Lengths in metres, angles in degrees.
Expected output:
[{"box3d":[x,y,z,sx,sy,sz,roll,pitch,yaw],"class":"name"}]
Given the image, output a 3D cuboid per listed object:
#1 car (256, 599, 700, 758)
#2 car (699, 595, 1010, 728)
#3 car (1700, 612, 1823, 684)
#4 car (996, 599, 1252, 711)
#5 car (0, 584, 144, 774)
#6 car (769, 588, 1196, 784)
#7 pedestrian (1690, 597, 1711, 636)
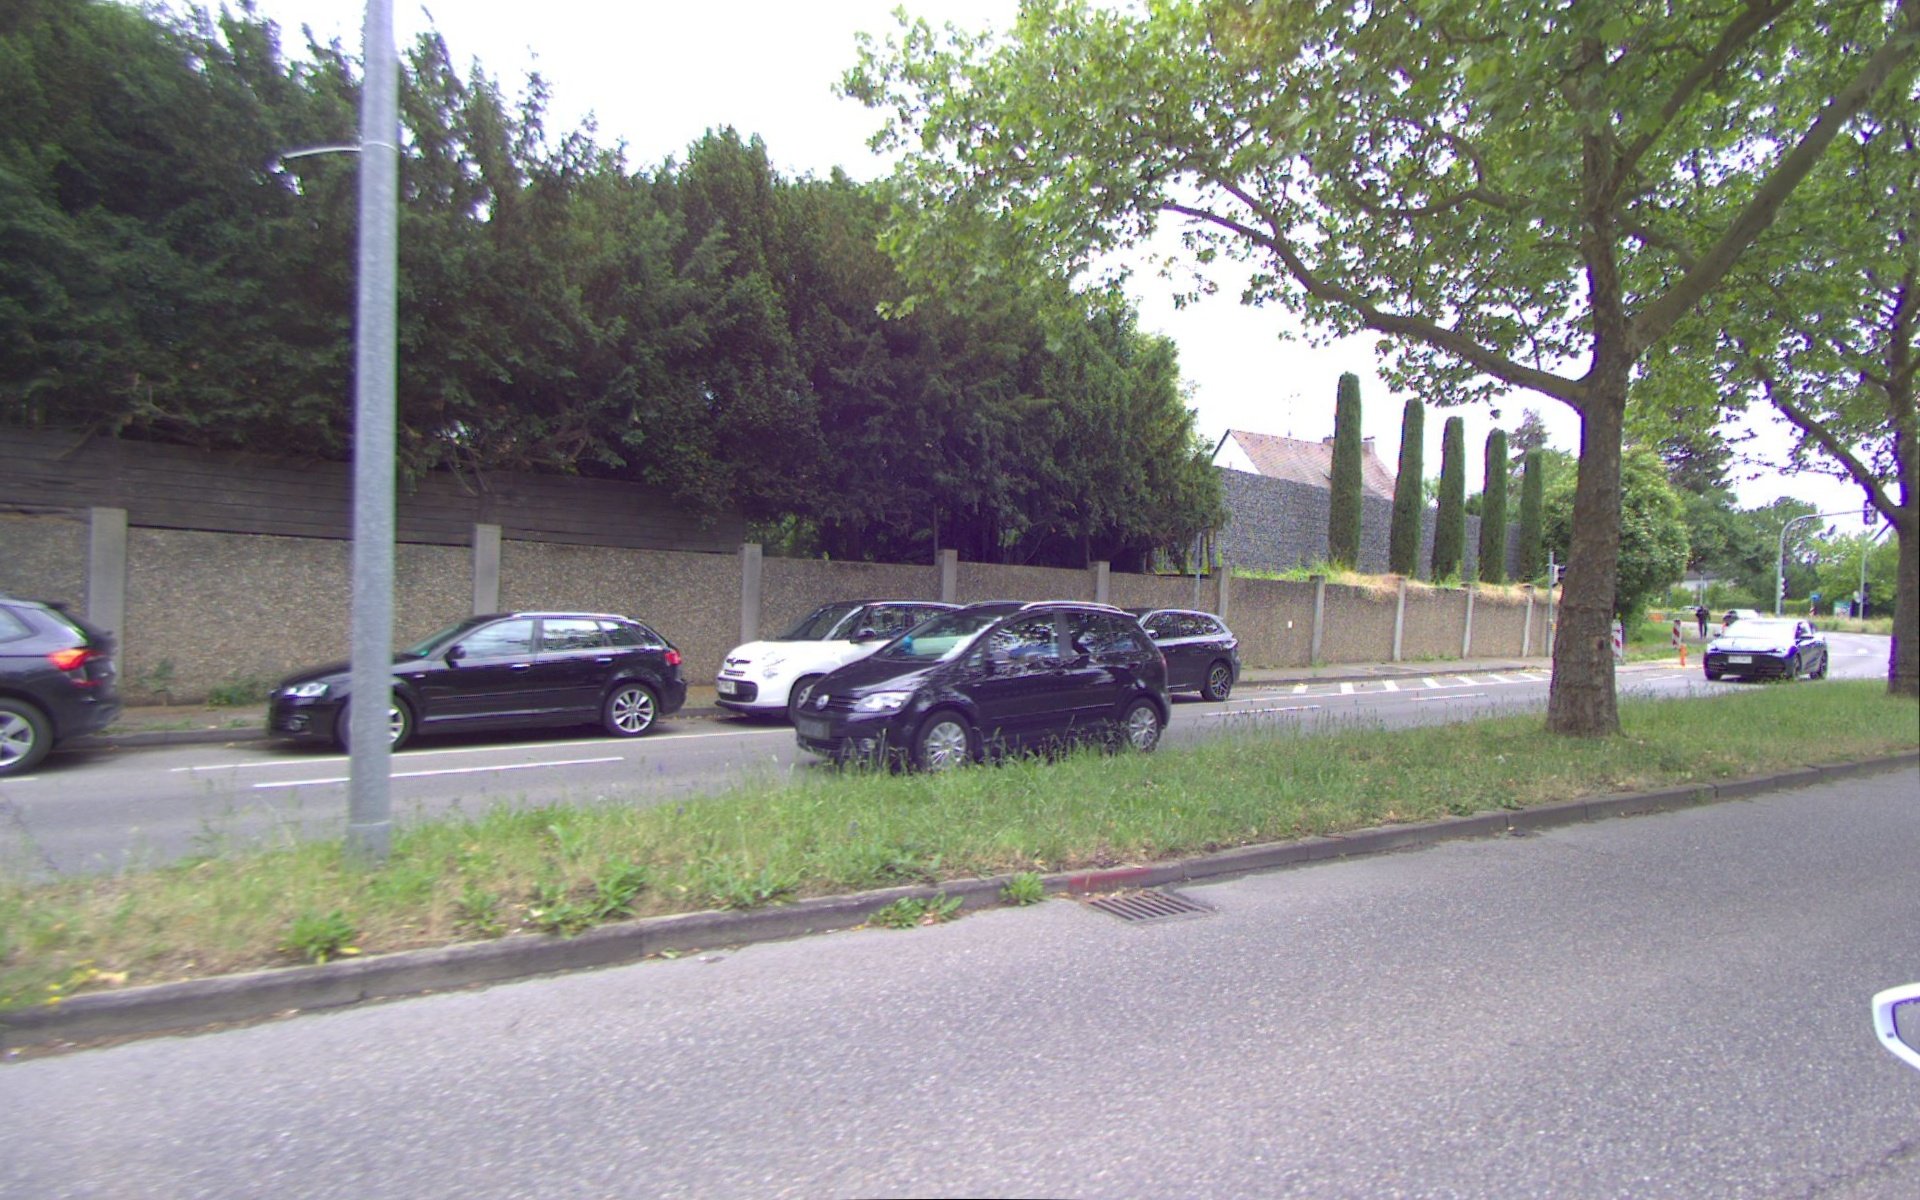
[{"box3d":[-5.214,0.793,11.153,4.183,1.419,1.635,2,0,-37],"class":"car"},{"box3d":[-1.395,0.807,14.089,4.058,1.613,1.660,2,-1,-37],"class":"car"},{"box3d":[20.889,1.209,26.111,4.401,1.646,1.928,2,0,-44],"class":"car"},{"box3d":[2.904,0.909,17.299,4.392,1.646,1.873,2,0,-39],"class":"car"},{"box3d":[-9.346,0.598,8.159,4.065,1.531,1.933,2,-1,-37],"class":"car"},{"box3d":[0.312,0.768,10.265,3.960,1.608,1.984,2,-1,-37],"class":"car"},{"box3d":[40.559,0.907,55.010,0.731,2.041,0.629,5,5,44],"class":"pedestrian"}]
